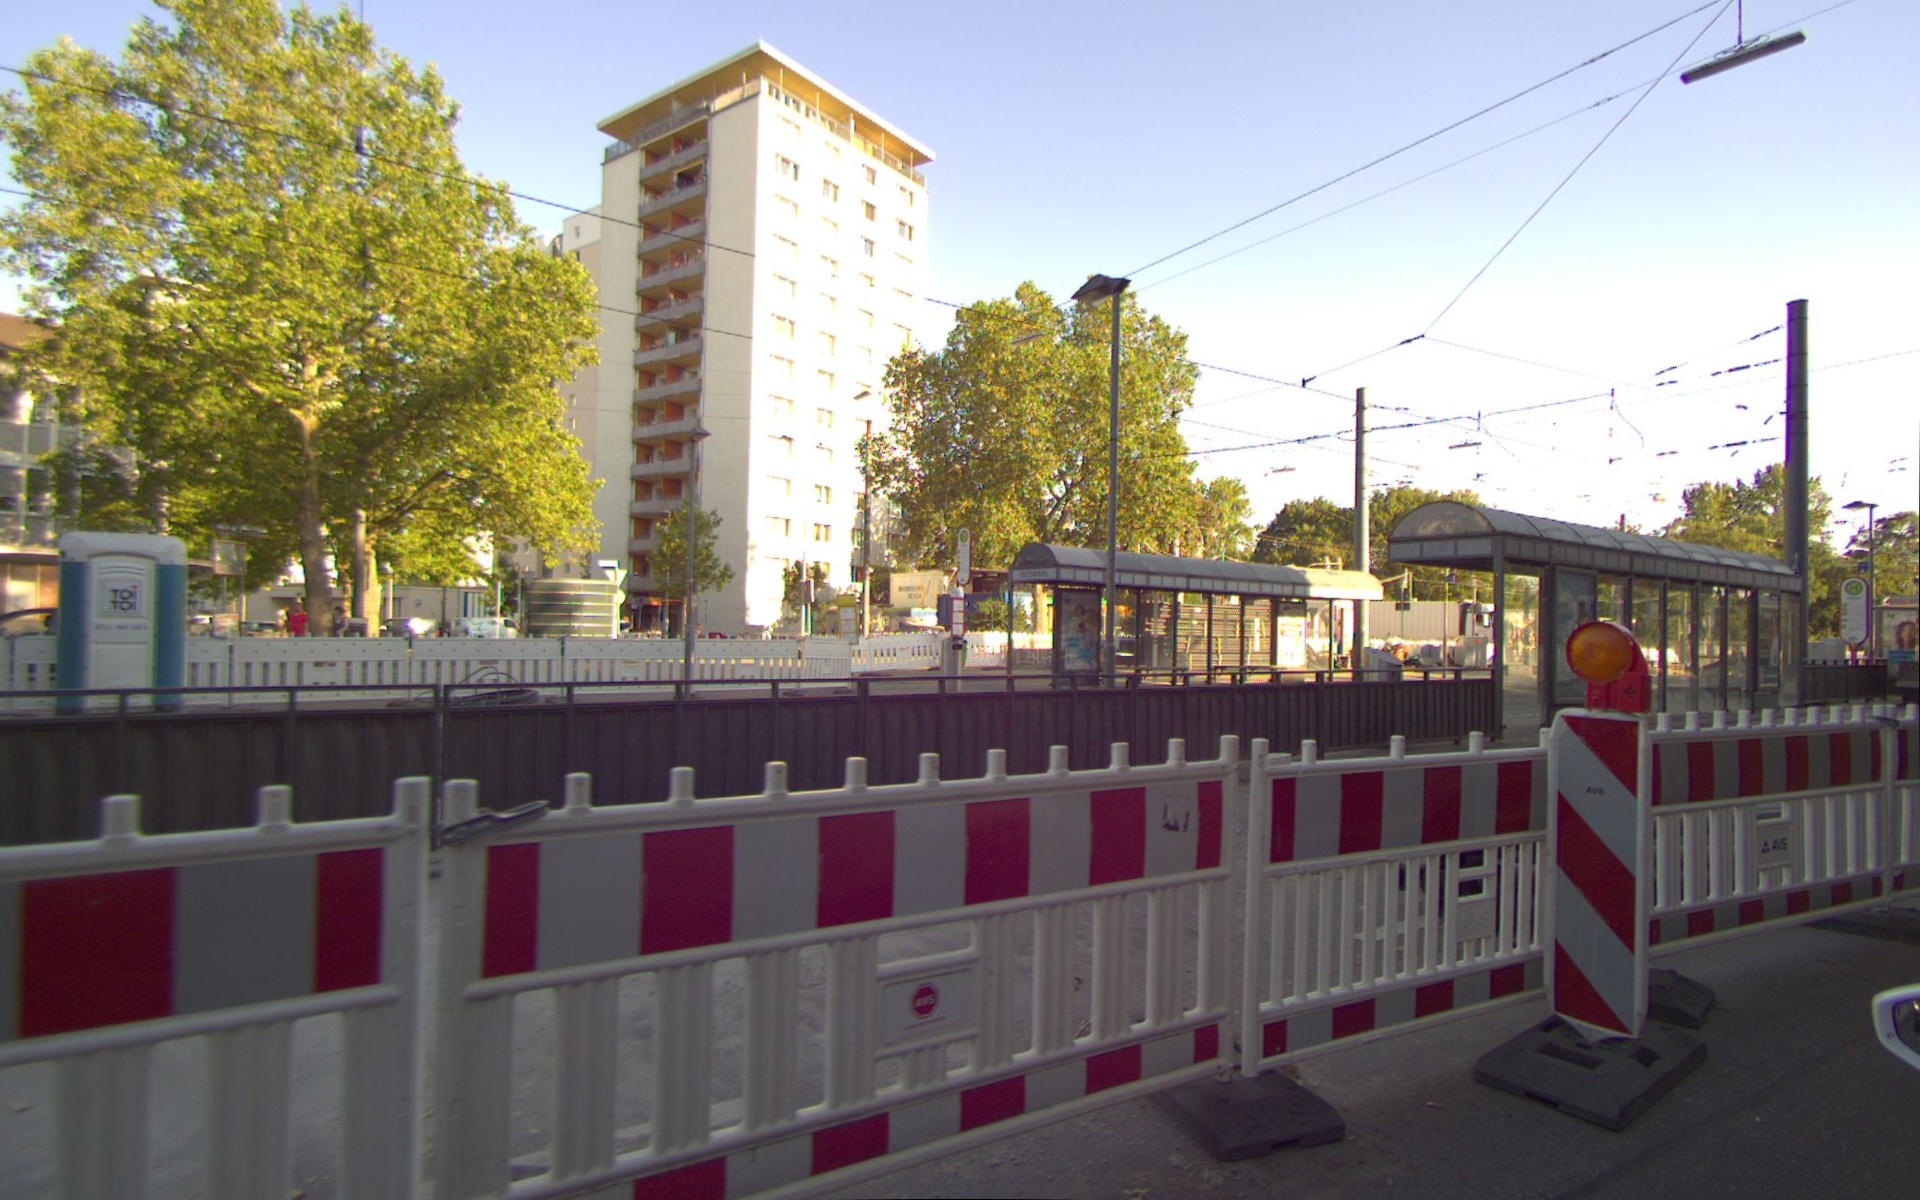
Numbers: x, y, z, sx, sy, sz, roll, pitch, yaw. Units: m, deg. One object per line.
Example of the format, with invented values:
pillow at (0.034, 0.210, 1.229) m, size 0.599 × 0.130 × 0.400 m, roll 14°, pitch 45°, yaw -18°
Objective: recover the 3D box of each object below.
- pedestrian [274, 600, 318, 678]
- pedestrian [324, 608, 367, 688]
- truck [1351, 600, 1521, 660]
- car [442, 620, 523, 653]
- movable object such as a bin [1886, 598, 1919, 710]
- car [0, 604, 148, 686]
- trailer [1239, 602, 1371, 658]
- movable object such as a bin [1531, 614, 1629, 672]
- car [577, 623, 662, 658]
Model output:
pedestrian at (-17.805, 1.052, 26.954) m, size 0.873 × 2.040 × 0.881 m, roll 1°, pitch -1°, yaw -29°
pedestrian at (-16.057, 1.248, 26.259) m, size 0.873 × 2.040 × 0.881 m, roll 1°, pitch -1°, yaw -29°
truck at (32.593, 2.045, 69.312) m, size 2.879 × 3.839 × 10.306 m, roll 3°, pitch -2°, yaw -42°
car at (-31.043, 2.373, 65.486) m, size 1.964 × 2.040 × 4.437 m, roll 0°, pitch -2°, yaw 29°
movable object such as a bin at (22.480, 1.188, 21.876) m, size 4.857 × 2.348 × 2.624 m, roll 2°, pitch -1°, yaw -37°
car at (-19.118, 0.884, 20.357) m, size 3.929 × 1.586 × 1.794 m, roll 2°, pitch -1°, yaw -34°
trailer at (26.144, 2.223, 76.540) m, size 2.876 × 3.847 × 9.129 m, roll 3°, pitch -1°, yaw -43°
movable object such as a bin at (30.061, 2.084, 48.669) m, size 4.545 × 2.674 × 2.141 m, roll 2°, pitch -2°, yaw -30°
car at (-21.121, 2.490, 62.470) m, size 1.964 × 2.040 × 4.906 m, roll 0°, pitch -2°, yaw 29°
